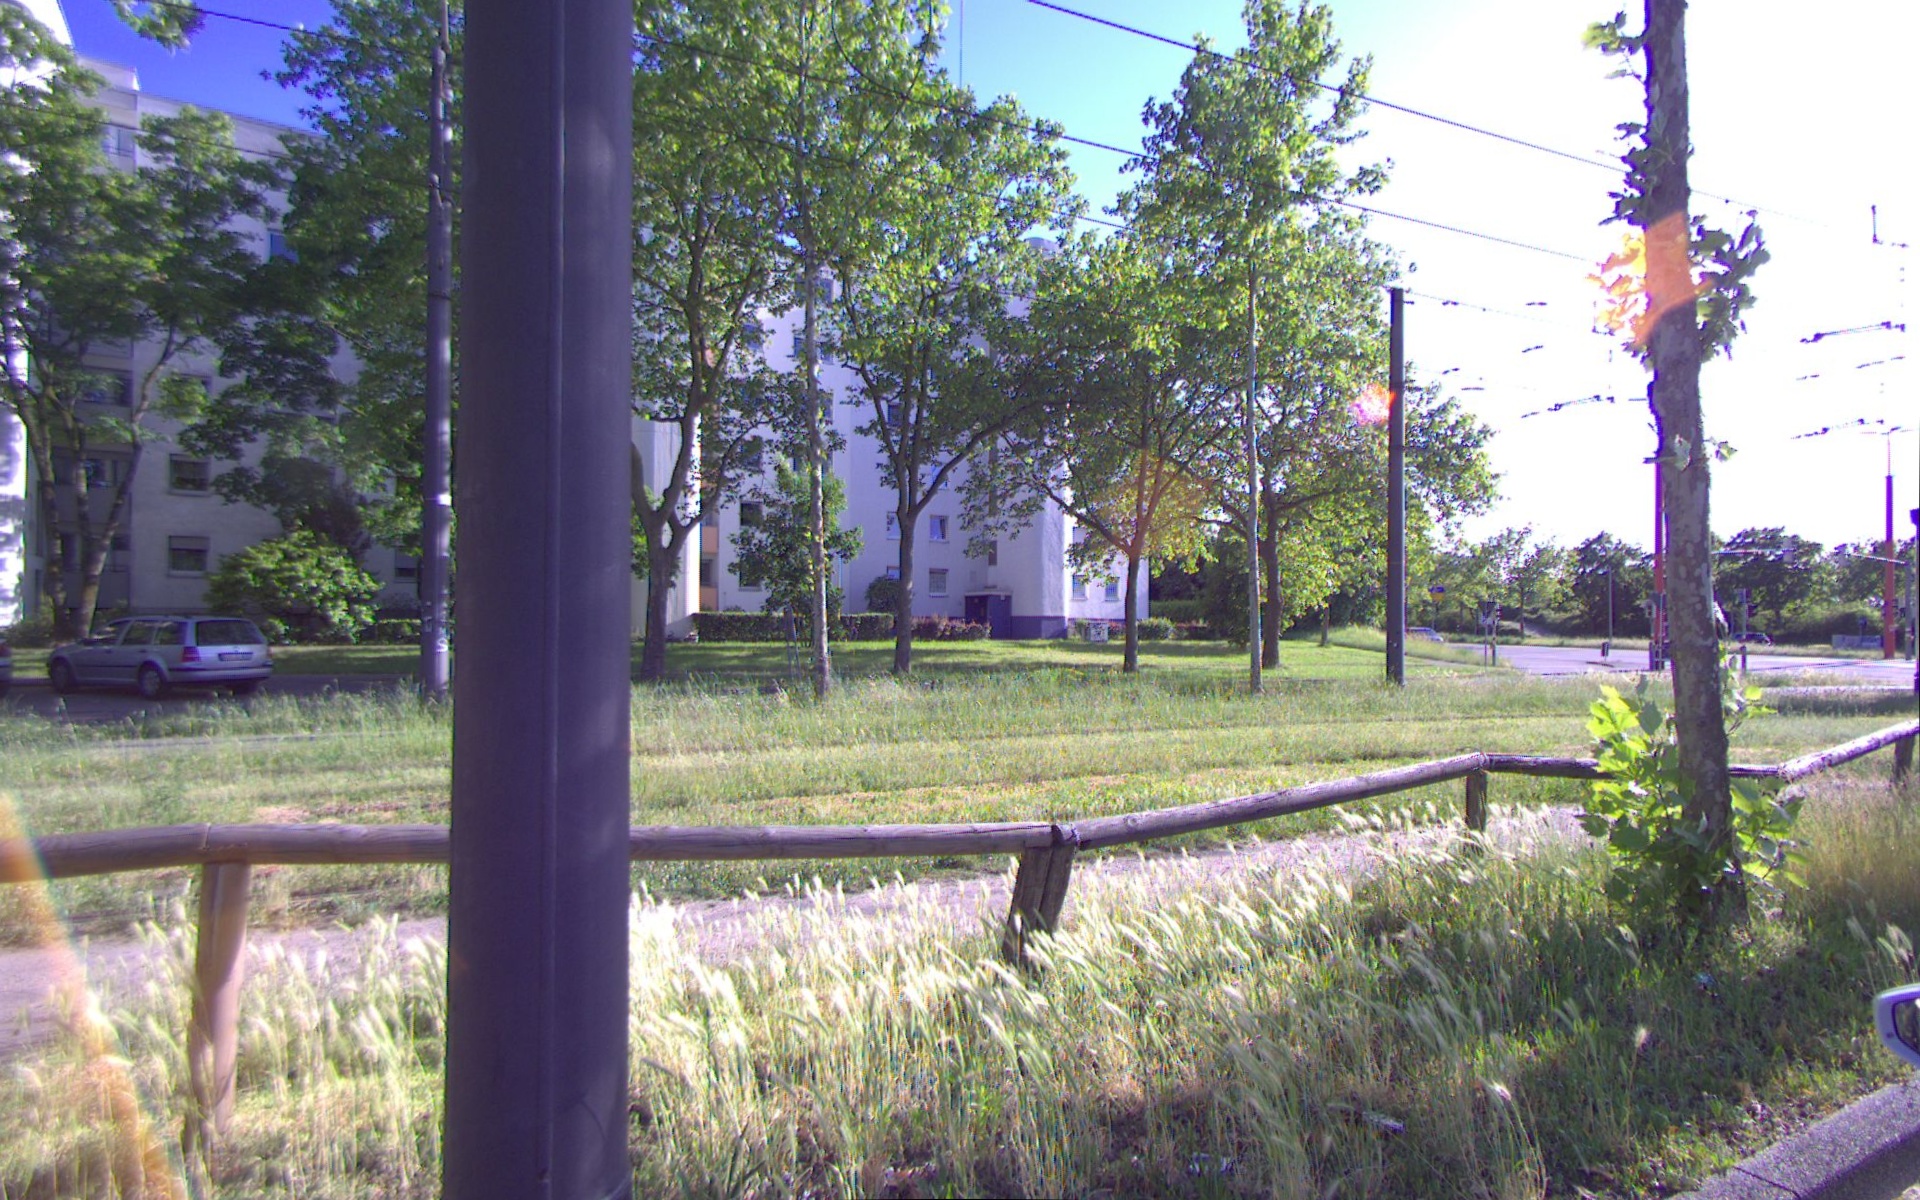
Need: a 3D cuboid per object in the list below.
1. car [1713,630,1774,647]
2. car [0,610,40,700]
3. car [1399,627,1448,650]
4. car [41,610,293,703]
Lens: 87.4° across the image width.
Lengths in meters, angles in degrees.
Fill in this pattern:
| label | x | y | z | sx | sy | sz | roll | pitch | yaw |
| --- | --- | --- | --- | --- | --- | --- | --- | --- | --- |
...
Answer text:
| label | x | y | z | sx | sy | sz | roll | pitch | yaw |
| --- | --- | --- | --- | --- | --- | --- | --- | --- | --- |
| car | 66.835 | 3.268 | 85.723 | 1.907 | 1.283 | 3.998 | 1 | -1 | -5 |
| car | -18.099 | 0.909 | 17.225 | 3.969 | 1.506 | 1.764 | 1 | 0 | 20 |
| car | 37.989 | 3.149 | 82.431 | 1.867 | 1.798 | 4.446 | -1 | -1 | -2 |
| car | -14.617 | 0.975 | 18.539 | 3.969 | 1.506 | 1.815 | 1 | 0 | 20 |
